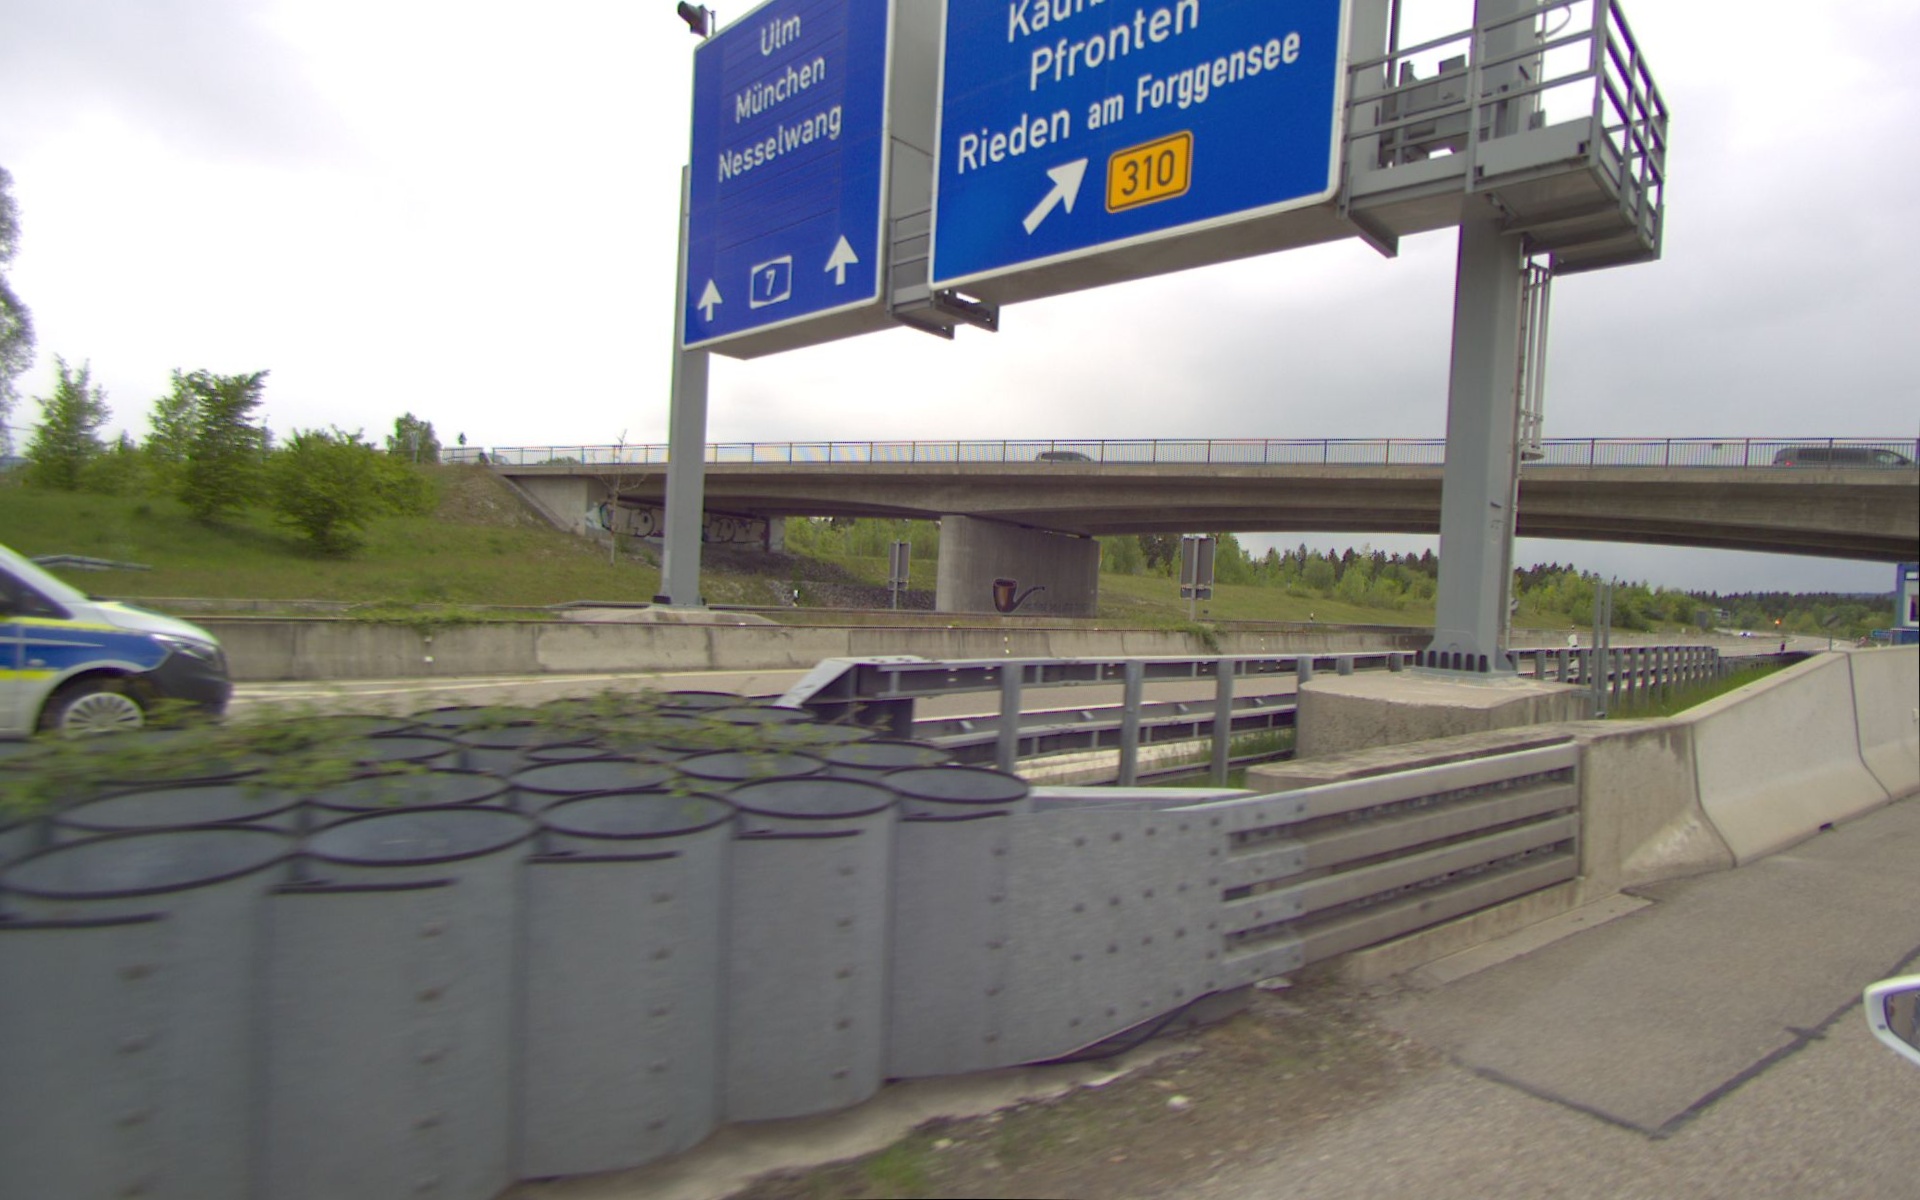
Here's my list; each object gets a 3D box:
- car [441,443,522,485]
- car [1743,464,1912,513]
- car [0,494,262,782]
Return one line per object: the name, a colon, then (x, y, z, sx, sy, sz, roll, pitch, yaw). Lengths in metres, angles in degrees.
car: (-34.326, -9.726, 72.036, 5.642, 2.281, 1.999, -1, -2, 24)
car: (35.621, -4.534, 41.425, 4.843, 1.669, 1.999, 1, -1, 23)
car: (-8.298, 0.213, 7.232, 2.263, 2.040, 5.018, 2, -1, 45)
